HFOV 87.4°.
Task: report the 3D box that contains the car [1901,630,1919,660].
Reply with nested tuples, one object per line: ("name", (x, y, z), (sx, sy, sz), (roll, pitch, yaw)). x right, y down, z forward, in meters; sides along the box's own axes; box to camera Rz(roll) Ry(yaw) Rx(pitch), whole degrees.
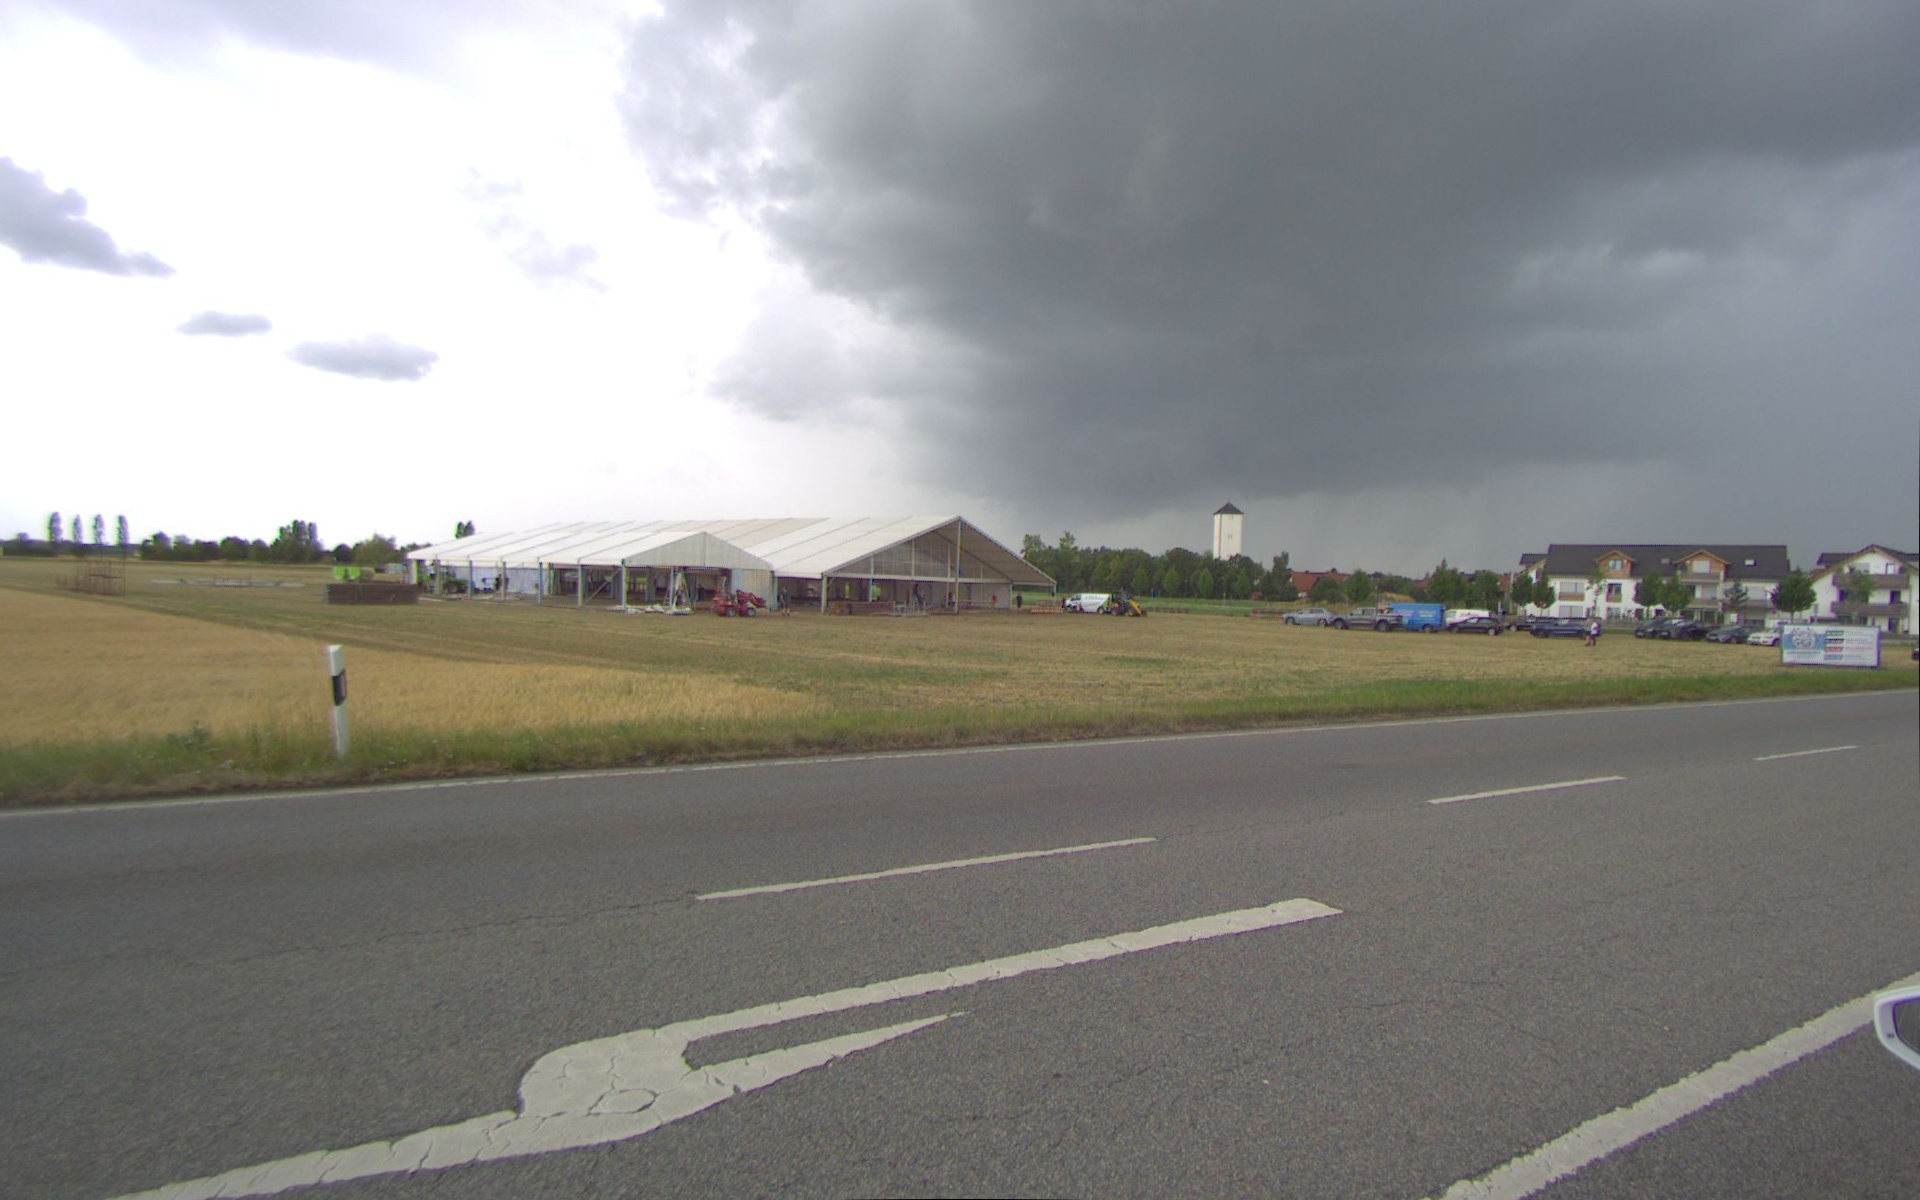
("car", (51.600, 2.416, 53.387), (3.970, 1.461, 1.975), (1, 1, -42))

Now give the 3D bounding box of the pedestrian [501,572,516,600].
("pedestrian", (-34.921, -1.065, 77.664), (0.930, 2.130, 0.860), (1, 1, -32))

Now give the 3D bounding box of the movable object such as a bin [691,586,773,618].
("movable object such as a bin", (-14.259, 0.152, 63.013), (2.555, 1.889, 4.458), (2, 0, 36))

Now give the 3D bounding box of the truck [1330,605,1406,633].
("truck", (31.668, 1.453, 77.985), (5.154, 1.946, 2.106), (2, 0, 34))

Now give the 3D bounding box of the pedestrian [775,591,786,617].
("pedestrian", (-11.714, 0.270, 65.561), (0.572, 1.649, 0.471), (2, 0, 2))

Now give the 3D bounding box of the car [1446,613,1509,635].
("car", (40.902, 1.888, 79.438), (4.105, 1.539, 1.991), (2, 0, 40))

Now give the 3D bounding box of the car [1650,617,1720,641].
("car", (54.552, 2.174, 75.574), (4.138, 1.651, 1.995), (2, 0, -12))

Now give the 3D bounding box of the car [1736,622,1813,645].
("car", (56.744, 2.323, 70.008), (4.138, 1.465, 1.995), (2, 0, -12))

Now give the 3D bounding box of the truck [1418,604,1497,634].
("truck", (41.565, 1.544, 83.935), (5.493, 2.226, 2.597), (2, 0, 37))

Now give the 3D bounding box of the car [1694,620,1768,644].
("car", (55.726, 2.303, 72.609), (4.138, 1.556, 1.995), (2, 0, -12))

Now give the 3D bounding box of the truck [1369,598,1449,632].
("truck", (35.515, 1.163, 79.476), (5.378, 2.478, 2.385), (2, 0, 37))

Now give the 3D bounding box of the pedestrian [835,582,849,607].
("pedestrian", (-9.978, -0.475, 84.596), (0.869, 2.040, 0.760), (1, 1, -35))

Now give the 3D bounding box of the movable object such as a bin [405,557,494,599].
("movable object such as a bin", (-44.151, -1.929, 86.855), (7.465, 3.219, 4.140), (3, 1, 39))

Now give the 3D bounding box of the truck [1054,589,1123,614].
("truck", (12.451, 0.123, 97.418), (5.960, 2.246, 2.714), (2, 0, 33))

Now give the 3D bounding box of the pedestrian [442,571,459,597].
("pedestrian", (-40.540, -1.288, 79.951), (1.009, 2.040, 0.803), (2, 1, 38))

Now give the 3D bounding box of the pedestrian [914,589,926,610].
("pedestrian", (-3.414, -0.043, 85.654), (0.689, 1.799, 0.682), (1, 1, -41))

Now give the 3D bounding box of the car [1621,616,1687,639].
("car", (54.896, 2.144, 79.424), (4.138, 1.651, 1.995), (2, 0, -12))

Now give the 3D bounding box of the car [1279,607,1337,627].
("car", (29.293, 1.444, 84.557), (4.235, 1.481, 1.886), (2, 0, 34))

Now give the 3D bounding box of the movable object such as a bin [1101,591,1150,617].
("movable object such as a bin", (15.050, 0.350, 91.353), (3.928, 2.273, 1.881), (2, 0, 32))

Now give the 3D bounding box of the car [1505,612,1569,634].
("car", (51.108, 2.042, 88.983), (4.570, 1.720, 1.991), (2, 0, 40))

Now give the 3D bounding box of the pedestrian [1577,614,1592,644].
("pedestrian", (38.903, 1.814, 62.580), (0.673, 1.809, 0.543), (1, 1, -42))

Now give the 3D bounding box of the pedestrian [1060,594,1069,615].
("pedestrian", (9.453, 0.372, 90.698), (0.694, 1.890, 0.626), (2, 1, 9))

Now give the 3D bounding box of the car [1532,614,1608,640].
("car", (45.841, 2.015, 75.526), (4.659, 1.720, 1.991), (2, 0, 40))

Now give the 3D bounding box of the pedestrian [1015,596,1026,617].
("pedestrian", (5.234, 0.569, 86.959), (0.683, 1.799, 0.689), (1, 1, -32))

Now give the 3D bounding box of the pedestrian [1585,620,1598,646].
("pedestrian", (39.696, 2.053, 63.132), (0.582, 1.576, 0.623), (2, 1, 41))

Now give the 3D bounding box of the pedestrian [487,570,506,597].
("pedestrian", (-35.076, -1.239, 76.024), (1.006, 2.040, 0.806), (2, 1, -6))

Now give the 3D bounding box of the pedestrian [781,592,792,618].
("pedestrian", (-11.133, 0.306, 64.515), (0.544, 1.649, 0.544), (2, 0, -22))
